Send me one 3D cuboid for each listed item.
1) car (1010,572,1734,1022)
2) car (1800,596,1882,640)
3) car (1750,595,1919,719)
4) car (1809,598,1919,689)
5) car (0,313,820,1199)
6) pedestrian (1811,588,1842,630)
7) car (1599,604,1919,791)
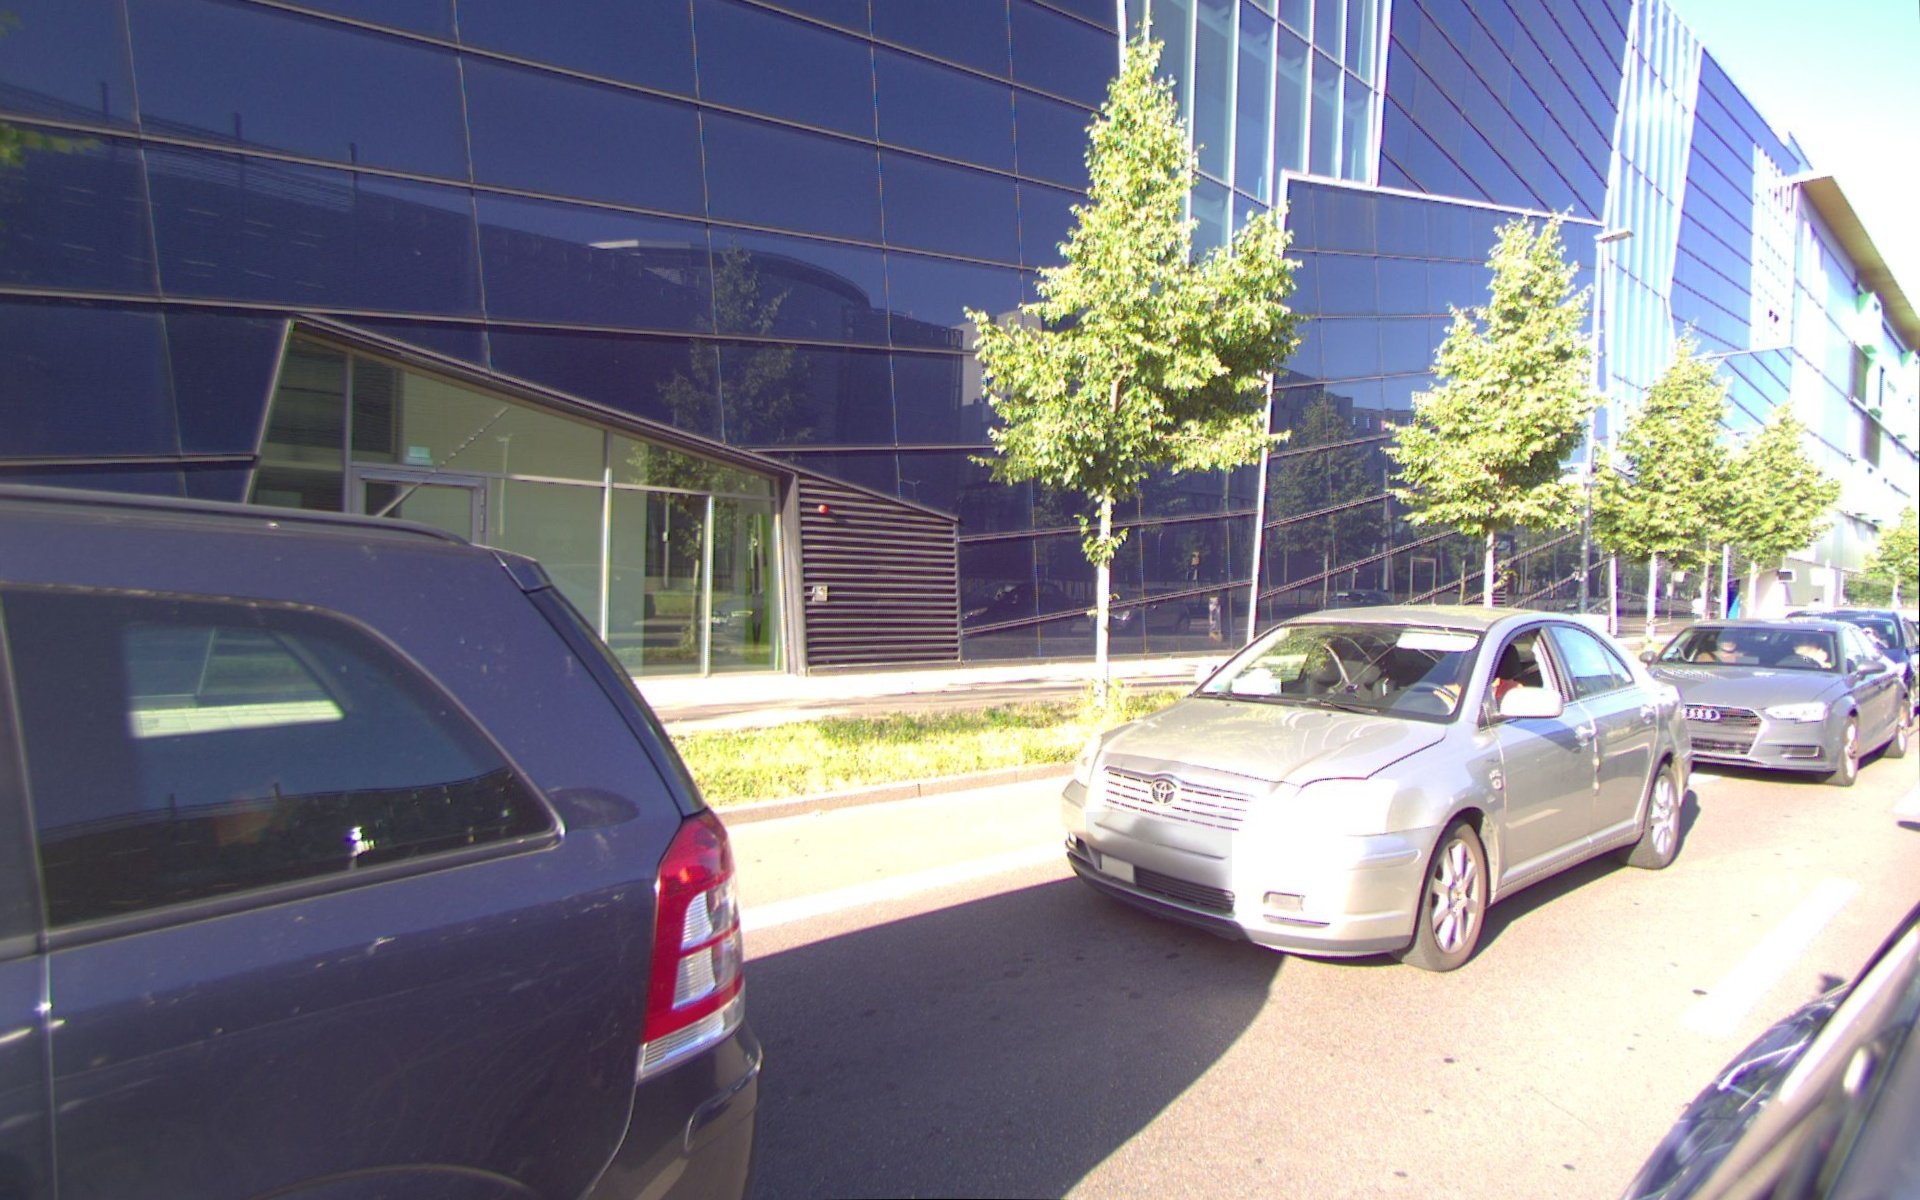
[{"bbox_3d":[2.537,0.639,5.545,4.546,1.500,1.749,0,2,-40],"label":"car"},{"bbox_3d":[34.382,0.684,39.458,4.633,1.516,1.739,1,3,-41],"label":"car"},{"bbox_3d":[12.744,0.712,14.337,3.902,1.497,1.752,1,0,-41],"label":"car"},{"bbox_3d":[16.814,0.734,18.311,3.358,1.497,1.752,1,0,-41],"label":"car"},{"bbox_3d":[-2.362,0.574,0.936,4.187,1.717,1.748,0,0,-42],"label":"car"},{"bbox_3d":[40.203,0.403,46.947,0.889,1.846,0.829,1,4,-41],"label":"pedestrian"},{"bbox_3d":[8.025,0.769,9.916,4.187,1.409,1.750,0,1,-39],"label":"car"}]
